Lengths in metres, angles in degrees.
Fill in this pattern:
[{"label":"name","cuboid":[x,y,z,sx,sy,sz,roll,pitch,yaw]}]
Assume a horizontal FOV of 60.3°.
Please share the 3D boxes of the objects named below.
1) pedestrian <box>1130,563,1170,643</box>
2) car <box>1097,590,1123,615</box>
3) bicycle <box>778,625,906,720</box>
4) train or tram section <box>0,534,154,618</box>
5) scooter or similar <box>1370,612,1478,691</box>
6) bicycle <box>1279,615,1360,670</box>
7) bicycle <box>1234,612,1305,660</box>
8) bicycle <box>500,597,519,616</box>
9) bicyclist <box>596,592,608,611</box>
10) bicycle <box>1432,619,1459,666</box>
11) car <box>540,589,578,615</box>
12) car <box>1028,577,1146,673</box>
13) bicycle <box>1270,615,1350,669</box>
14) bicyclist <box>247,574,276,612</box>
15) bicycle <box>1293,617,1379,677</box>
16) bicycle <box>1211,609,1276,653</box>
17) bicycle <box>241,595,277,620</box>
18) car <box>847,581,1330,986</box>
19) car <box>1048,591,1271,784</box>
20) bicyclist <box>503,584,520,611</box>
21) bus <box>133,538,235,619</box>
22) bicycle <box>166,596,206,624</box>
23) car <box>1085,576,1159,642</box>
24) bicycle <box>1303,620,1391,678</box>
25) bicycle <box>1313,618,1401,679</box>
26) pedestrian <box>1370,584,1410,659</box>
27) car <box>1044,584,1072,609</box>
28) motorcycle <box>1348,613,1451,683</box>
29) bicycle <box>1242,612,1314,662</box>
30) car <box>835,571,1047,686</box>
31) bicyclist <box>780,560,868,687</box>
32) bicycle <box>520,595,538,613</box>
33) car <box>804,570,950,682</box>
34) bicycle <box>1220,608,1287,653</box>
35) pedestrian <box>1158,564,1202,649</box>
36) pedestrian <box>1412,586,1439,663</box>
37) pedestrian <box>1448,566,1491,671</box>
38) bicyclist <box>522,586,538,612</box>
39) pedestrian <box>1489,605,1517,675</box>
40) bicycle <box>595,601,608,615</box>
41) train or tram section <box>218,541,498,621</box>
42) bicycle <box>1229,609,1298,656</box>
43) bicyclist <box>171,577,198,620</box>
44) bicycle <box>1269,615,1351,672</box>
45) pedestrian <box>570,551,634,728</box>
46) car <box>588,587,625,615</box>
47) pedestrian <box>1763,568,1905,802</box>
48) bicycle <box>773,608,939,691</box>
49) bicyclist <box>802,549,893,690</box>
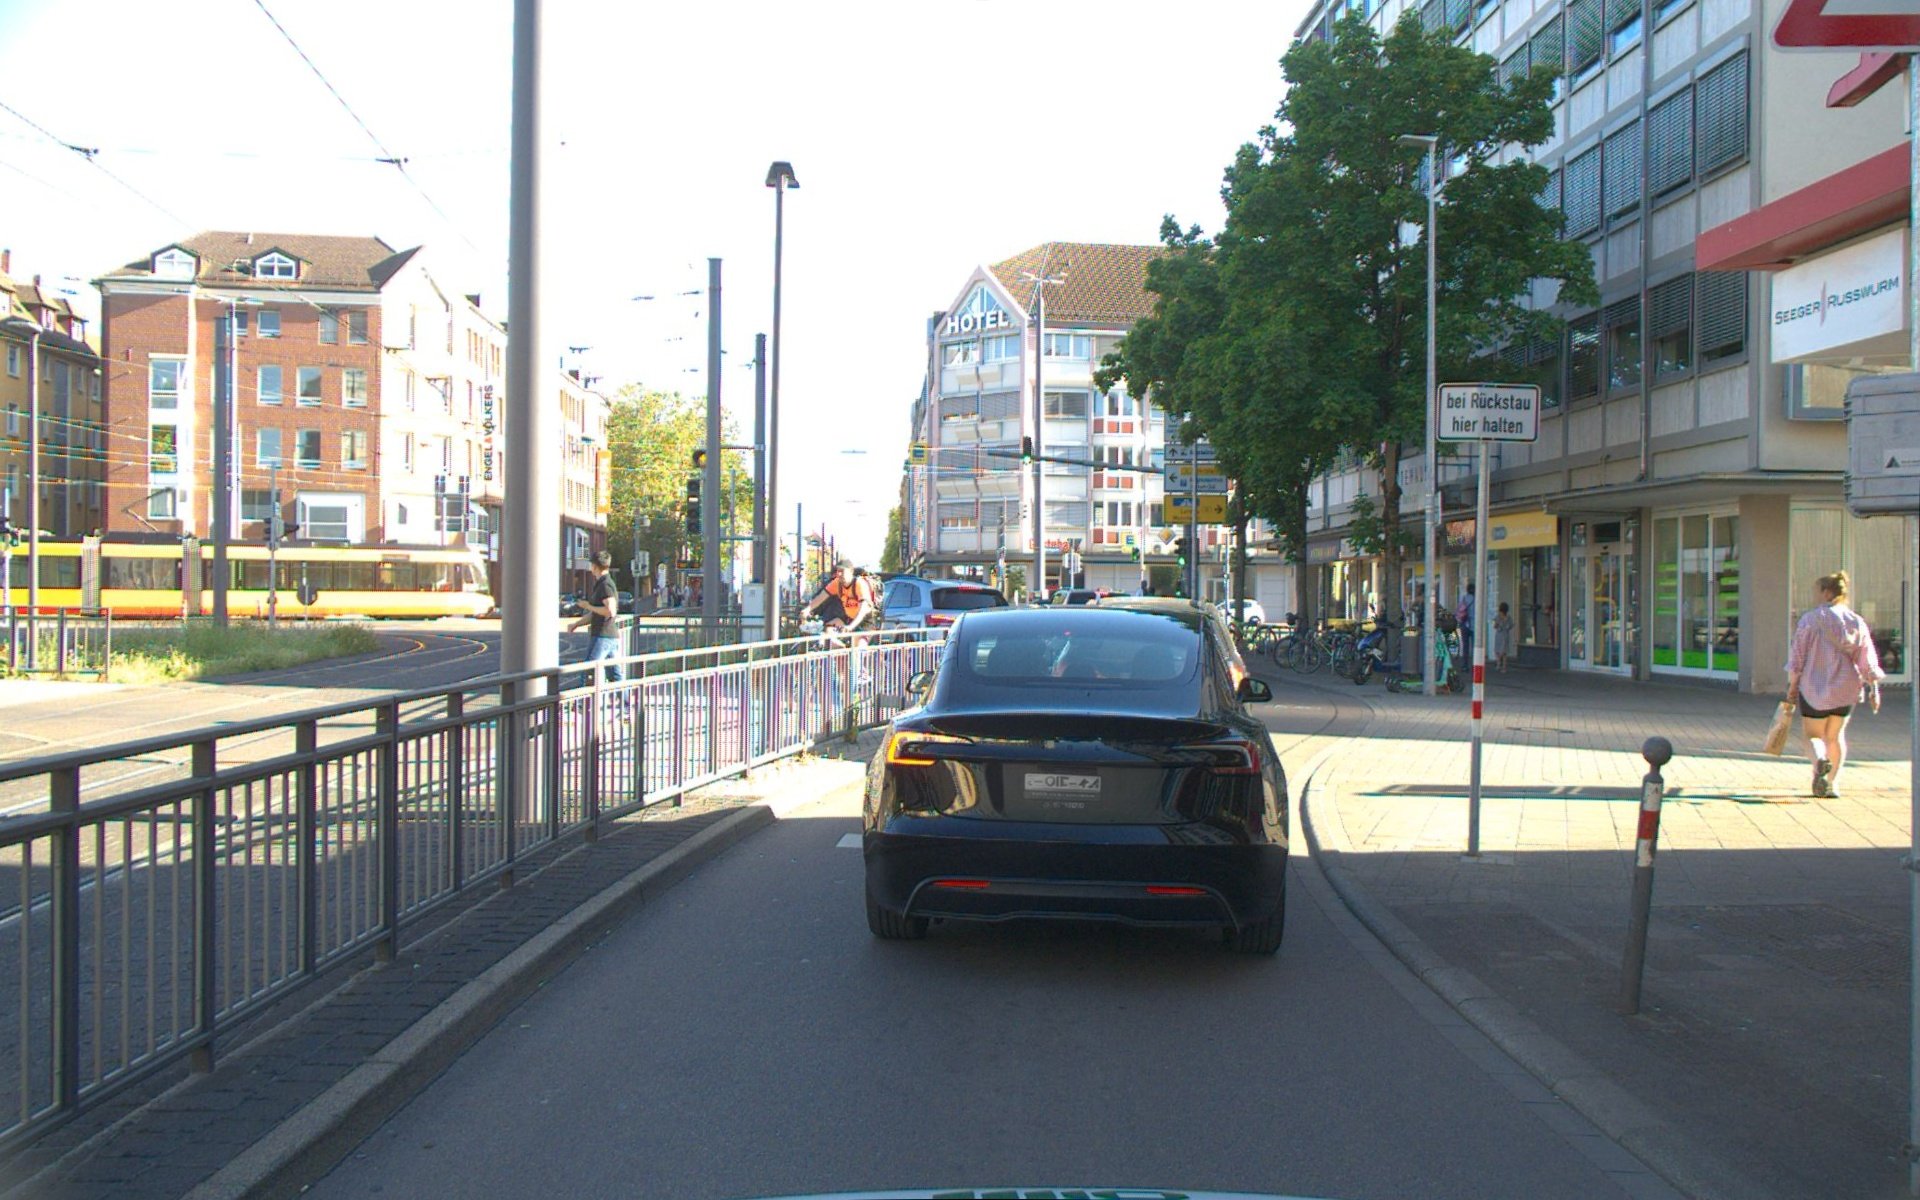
[{"label":"pedestrian","cuboid":[4.936,0.071,43.059,0.902,2.049,0.972,1,-1,-1]},{"label":"car","cuboid":[7.021,0.106,77.369,0.902,1.119,1.869,0,0,16]},{"label":"bicycle","cuboid":[-1.308,0.795,18.584,0.396,1.011,1.592,0,-1,42]},{"label":"train or tram section","cuboid":[-39.460,-1.009,65.169,13.453,3.185,2.721,1,0,-17]},{"label":"scooter or similar","cuboid":[7.664,0.837,27.327,1.610,1.236,0.644,1,-1,30]},{"label":"bicycle","cuboid":[7.458,0.881,34.334,1.620,1.118,0.349,1,-1,-11]},{"label":"bicycle","cuboid":[7.386,0.862,39.453,1.616,1.118,0.350,1,-1,1]},{"label":"bicycle","cuboid":[-26.594,0.398,97.656,0.526,1.107,2.224,1,0,0]},{"label":"bicyclist","cuboid":[-28.941,0.124,133.827,0.767,1.590,0.746,1,-1,1]},{"label":"bicycle","cuboid":[11.161,0.961,38.039,0.325,1.052,1.257,1,0,3]},{"label":"car","cuboid":[-24.807,0.143,102.432,1.677,1.553,4.032,1,0,-5]},{"label":"car","cuboid":[2.513,0.491,33.609,1.568,1.809,3.973,1,0,-8]},{"label":"bicycle","cuboid":[7.501,0.890,35.483,1.616,1.118,0.350,1,-1,1]},{"label":"bicyclist","cuboid":[-28.428,-0.268,67.342,0.880,1.529,0.696,1,-1,-1]},{"label":"bicycle","cuboid":[7.281,0.907,32.004,1.620,1.118,0.349,1,-1,-11]},{"label":"bicycle","cuboid":[7.296,0.796,42.613,1.616,1.118,0.350,1,-1,1]},{"label":"bicycle","cuboid":[-28.438,0.305,67.128,0.513,0.988,2.246,1,0,-1]},{"label":"car","cuboid":[0.621,0.694,8.223,1.791,1.481,4.002,1,0,4]},{"label":"car","cuboid":[1.752,0.672,14.948,1.714,1.480,4.003,1,0,5]},{"label":"bicyclist","cuboid":[-26.582,-0.150,98.018,0.768,1.590,0.746,1,-1,0]},{"label":"bus","cuboid":[-31.874,-0.867,67.921,3.483,3.185,2.740,1,-1,-32]},{"label":"bicycle","cuboid":[-28.270,0.371,60.428,0.437,0.988,2.246,1,0,-1]},{"label":"car","cuboid":[4.609,0.254,47.459,1.685,1.781,3.753,1,0,-1]},{"label":"bicycle","cuboid":[7.385,0.929,31.582,1.620,1.079,0.349,1,-1,-11]},{"label":"bicycle","cuboid":[7.481,0.915,31.162,1.620,1.118,0.349,1,-1,-11]},{"label":"pedestrian","cuboid":[9.899,0.484,38.061,0.685,1.691,0.777,1,-1,-1]},{"label":"car","cuboid":[4.490,-0.166,75.505,0.902,1.119,1.869,1,0,16]},{"label":"motorcycle","cuboid":[7.810,0.852,29.404,1.673,1.194,0.541,1,-1,-3]},{"label":"bicycle","cuboid":[7.386,0.861,38.434,1.616,1.118,0.350,1,-1,1]},{"label":"car","cuboid":[-0.398,0.423,26.463,1.859,1.691,4.125,1,0,-25]},{"label":"bicyclist","cuboid":[-1.820,0.310,22.112,0.753,1.657,0.964,1,-1,-39]},{"label":"bicycle","cuboid":[-26.603,0.219,102.148,0.518,1.107,2.284,0,0,0]},{"label":"car","cuboid":[-1.701,0.481,32.580,1.962,2.049,3.981,0,0,-17]},{"label":"bicycle","cuboid":[7.366,0.772,41.521,1.616,1.118,0.350,0,0,1]},{"label":"pedestrian","cuboid":[5.362,0.159,40.323,0.902,2.049,0.972,1,-1,-1]},{"label":"pedestrian","cuboid":[10.732,0.564,38.131,0.515,1.740,0.403,1,-1,5]},{"label":"pedestrian","cuboid":[10.062,0.357,32.656,0.648,2.049,0.579,1,-1,1]},{"label":"bicyclist","cuboid":[-26.563,-0.089,102.143,0.767,1.590,0.746,0,0,1]},{"label":"pedestrian","cuboid":[10.704,0.782,32.633,0.381,1.367,0.513,1,-1,1]},{"label":"bicycle","cuboid":[-28.952,0.644,133.675,0.518,1.107,2.225,1,0,1]},{"label":"train or tram section","cuboid":[-26.077,-0.749,72.182,11.150,3.185,2.767,1,0,-38]},{"label":"bicycle","cuboid":[7.432,0.783,40.476,1.616,1.118,0.350,1,-1,1]},{"label":"bicyclist","cuboid":[-28.273,-0.048,60.331,0.620,1.529,0.696,1,-1,-1]},{"label":"bicycle","cuboid":[7.098,0.884,33.529,1.620,1.118,0.349,1,-1,-11]},{"label":"pedestrian","cuboid":[-3.558,0.387,16.448,0.580,1.710,0.772,1,-1,-12]},{"label":"car","cuboid":[-22.571,0.056,105.714,1.663,1.762,3.704,1,0,-3]},{"label":"pedestrian","cuboid":[6.620,0.620,12.569,0.872,1.696,0.808,1,-1,23]},{"label":"bicycle","cuboid":[-1.389,0.666,22.472,2.313,1.072,0.622,1,-1,-39]},{"label":"bicyclist","cuboid":[-1.259,0.216,18.632,0.385,1.548,1.037,0,-1,42]}]
